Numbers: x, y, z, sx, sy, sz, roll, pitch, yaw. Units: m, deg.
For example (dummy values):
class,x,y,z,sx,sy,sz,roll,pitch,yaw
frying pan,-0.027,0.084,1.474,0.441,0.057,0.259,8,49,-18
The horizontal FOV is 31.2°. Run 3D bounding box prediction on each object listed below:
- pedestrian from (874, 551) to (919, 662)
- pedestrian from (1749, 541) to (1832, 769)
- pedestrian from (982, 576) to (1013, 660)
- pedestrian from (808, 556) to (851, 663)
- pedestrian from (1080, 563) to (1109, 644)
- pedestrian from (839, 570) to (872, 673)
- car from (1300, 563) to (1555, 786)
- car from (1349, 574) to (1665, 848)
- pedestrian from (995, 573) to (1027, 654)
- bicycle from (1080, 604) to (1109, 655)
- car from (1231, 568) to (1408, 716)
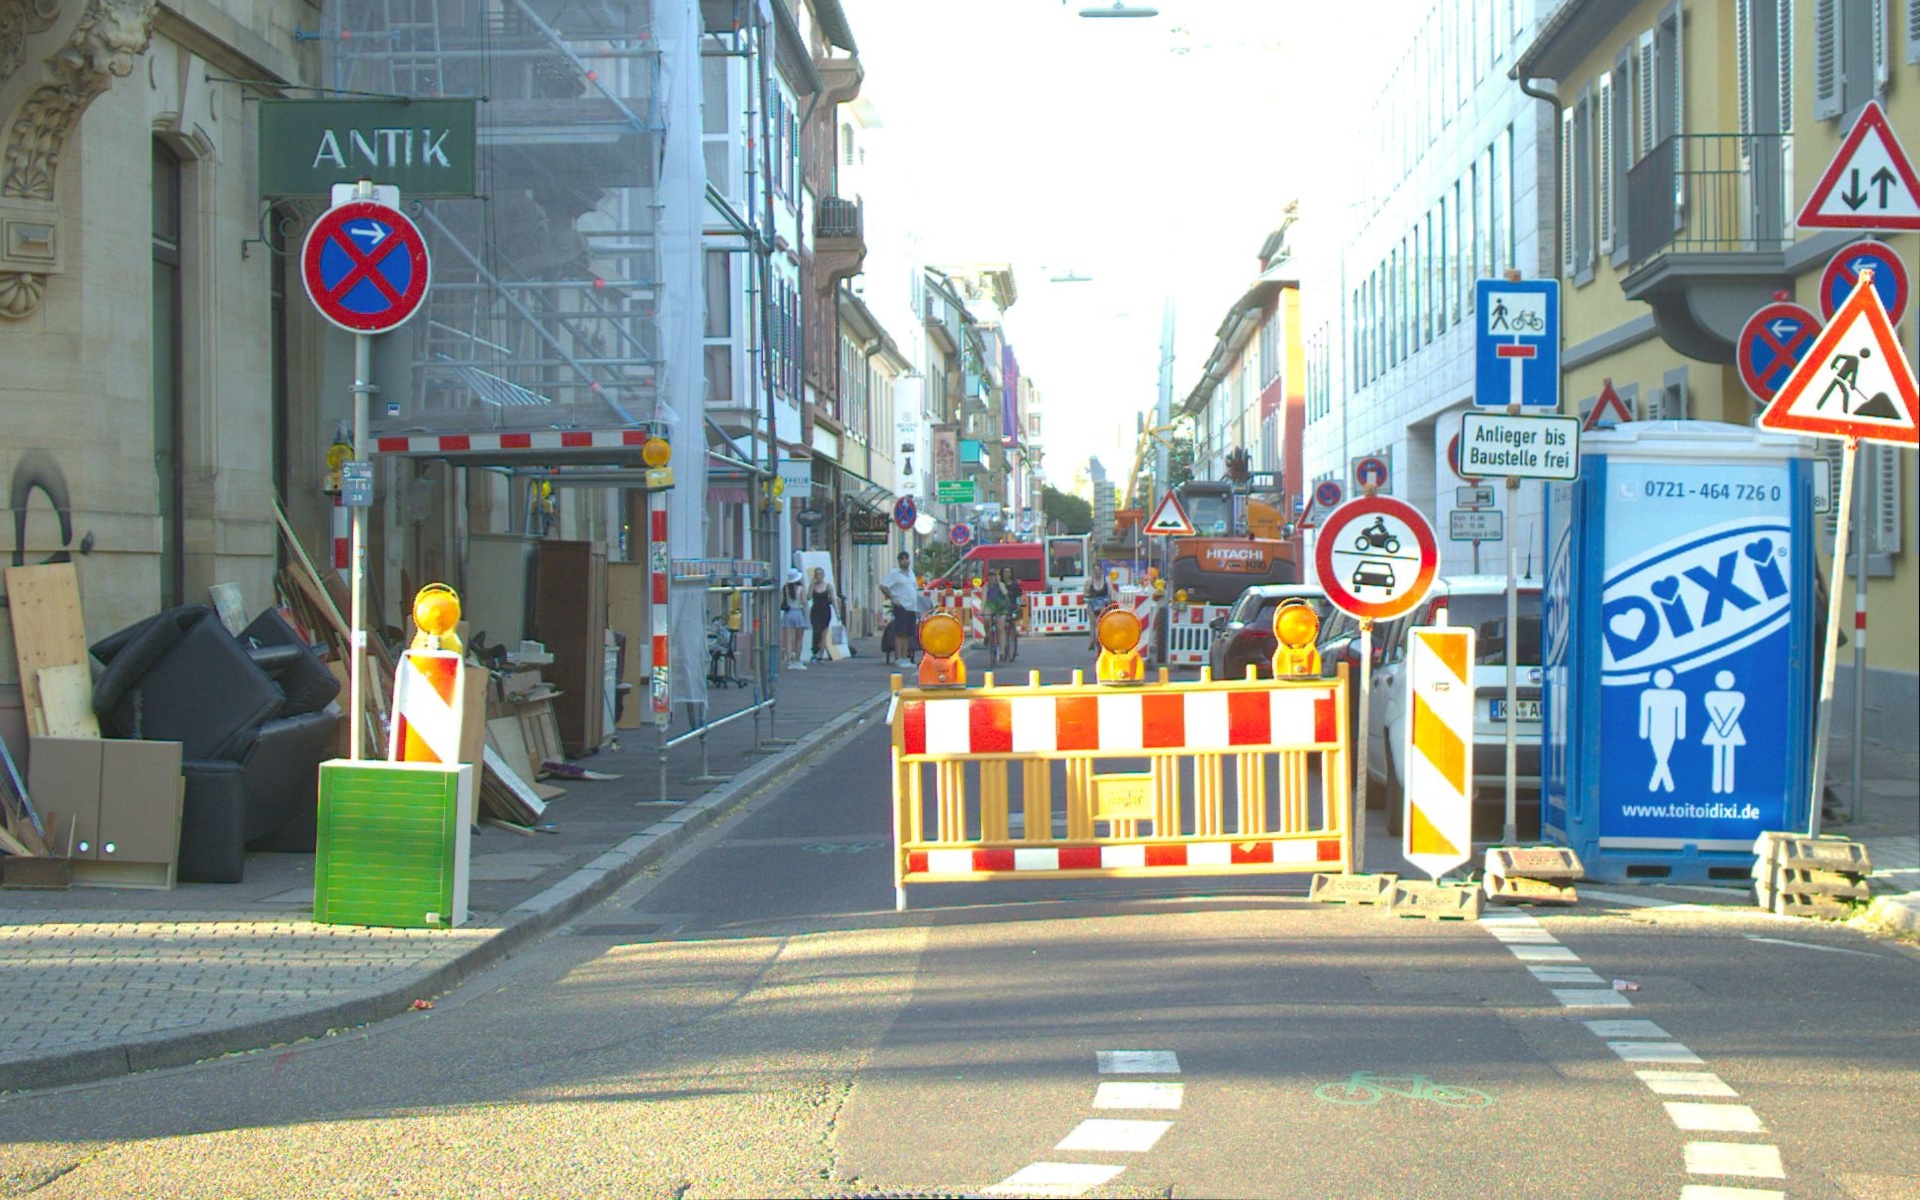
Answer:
class,x,y,z,sx,sy,sz,roll,pitch,yaw
pedestrian,-1.012,0.099,54.810,0.504,1.758,0.512,-1,1,-39
pedestrian,5.878,0.382,24.351,0.467,1.589,0.673,0,1,5
pedestrian,0.651,0.310,59.969,0.504,1.456,0.512,0,1,3
pedestrian,-2.115,0.157,55.862,0.676,1.727,0.700,0,0,-1
pedestrian,2.451,0.059,62.603,0.504,1.456,0.512,0,1,3
pedestrian,-1.590,0.330,52.436,0.343,1.561,0.420,0,0,24
car,3.427,0.494,25.747,1.540,1.515,3.978,-1,1,3
car,3.289,0.616,21.143,1.540,1.515,3.221,1,1,3
pedestrian,0.932,0.247,62.477,0.504,1.456,0.512,0,1,9
bicycle,2.451,0.530,62.701,0.504,0.881,1.477,0,1,2
car,3.876,0.427,37.480,1.718,1.515,3.221,-1,1,3
